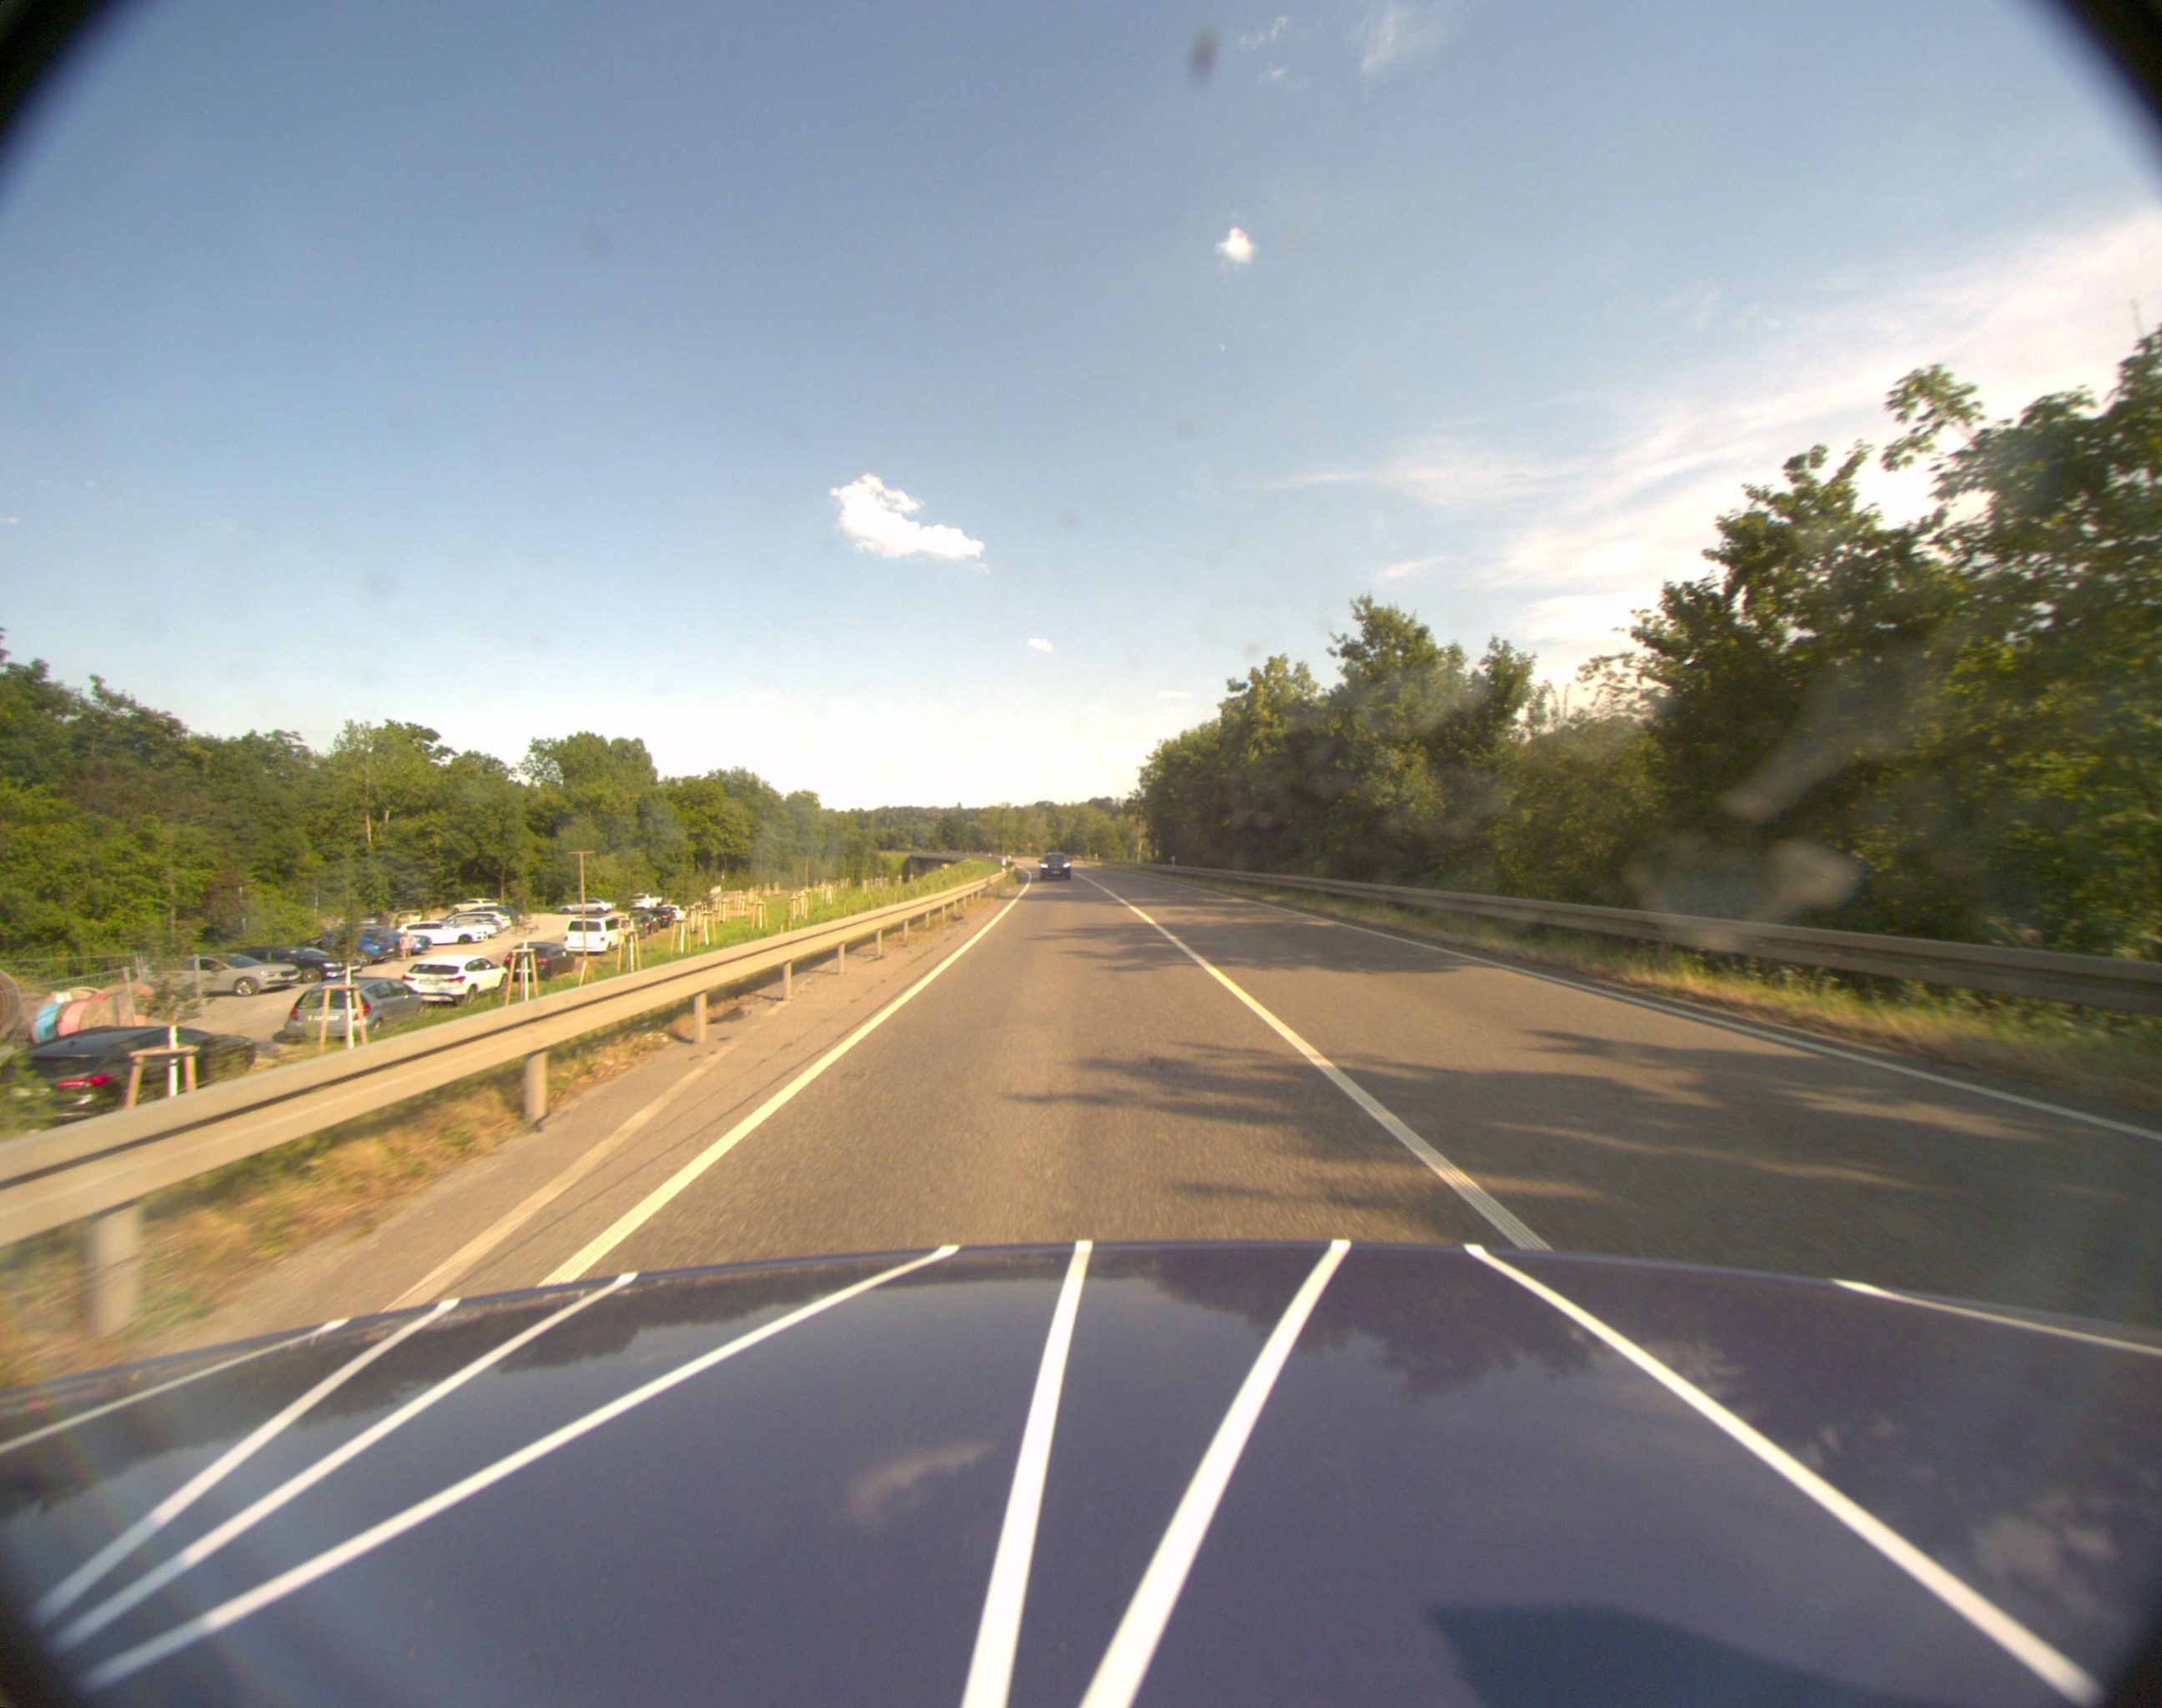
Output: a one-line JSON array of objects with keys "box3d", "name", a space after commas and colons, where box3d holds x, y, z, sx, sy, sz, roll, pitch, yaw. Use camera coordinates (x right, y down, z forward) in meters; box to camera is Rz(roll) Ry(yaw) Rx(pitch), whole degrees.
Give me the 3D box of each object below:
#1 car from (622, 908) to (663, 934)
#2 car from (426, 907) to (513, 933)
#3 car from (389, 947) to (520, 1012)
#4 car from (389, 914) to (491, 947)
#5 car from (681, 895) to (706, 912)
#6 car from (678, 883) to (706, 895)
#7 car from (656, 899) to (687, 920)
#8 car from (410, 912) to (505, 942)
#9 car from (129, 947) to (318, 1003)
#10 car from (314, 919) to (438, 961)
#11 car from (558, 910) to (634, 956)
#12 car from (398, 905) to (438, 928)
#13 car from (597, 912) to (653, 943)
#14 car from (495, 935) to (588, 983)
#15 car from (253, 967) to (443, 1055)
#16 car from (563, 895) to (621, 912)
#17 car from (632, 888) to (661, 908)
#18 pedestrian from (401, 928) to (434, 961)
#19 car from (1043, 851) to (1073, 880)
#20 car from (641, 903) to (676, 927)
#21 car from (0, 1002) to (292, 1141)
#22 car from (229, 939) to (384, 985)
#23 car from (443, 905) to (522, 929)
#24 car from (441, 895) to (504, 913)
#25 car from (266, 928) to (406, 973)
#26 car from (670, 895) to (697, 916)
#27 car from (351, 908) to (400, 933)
[{"box3d": [-29.542, 4.483, 51.326, 1.826, 1.473, 4.387, 1, -1, -23], "name": "car"}, {"box3d": [-41.991, 4.519, 52.320, 4.422, 1.447, 1.731, -1, 0, -29], "name": "car"}, {"box3d": [-21.632, 4.284, 26.497, 1.900, 1.550, 4.775, 3, -2, -19], "name": "car"}, {"box3d": [-37.768, 4.481, 44.895, 4.252, 1.489, 1.768, -2, 0, -24], "name": "car"}, {"box3d": [-37.228, 4.747, 73.036, 1.826, 1.393, 4.249, 1, -1, -23], "name": "car"}, {"box3d": [-53.566, 4.792, 104.689, 3.674, 1.488, 1.663, 0, 1, 29], "name": "car"}, {"box3d": [-33.474, 4.501, 62.136, 1.826, 1.473, 4.249, 1, -1, -23], "name": "car"}, {"box3d": [-38.705, 4.512, 47.283, 4.252, 1.447, 1.614, -2, 1, -25], "name": "car"}, {"box3d": [-31.598, 4.445, 28.174, 4.250, 1.481, 1.830, -2, 1, -19], "name": "car"}, {"box3d": [-36.210, 4.379, 39.174, 4.252, 1.732, 1.830, -2, 0, -24], "name": "car"}, {"box3d": [-25.791, 4.150, 40.608, 2.128, 2.005, 5.371, 3, -2, -19], "name": "car"}, {"box3d": [-48.809, 4.582, 55.983, 1.502, 1.447, 3.667, 1, -1, -30], "name": "car"}, {"box3d": [-27.715, 4.457, 46.294, 1.900, 1.473, 4.775, 3, -2, -19], "name": "car"}, {"box3d": [-22.933, 4.427, 32.494, 1.900, 1.473, 4.775, 3, -2, -19], "name": "car"}, {"box3d": [-20.155, 4.245, 21.221, 1.900, 1.550, 4.775, 3, -2, -19], "name": "car"}, {"box3d": [-45.159, 4.543, 70.233, 4.251, 1.447, 1.615, 1, -1, -19], "name": "car"}, {"box3d": [-43.894, 4.415, 76.855, 1.661, 1.657, 4.700, 0, 1, -18], "name": "car"}, {"box3d": [-32.819, 4.466, 37.570, 0.919, 1.462, 0.890, 1, -1, 23], "name": "pedestrian"}, {"box3d": [-1.473, 0.670, 47.070, 1.751, 1.645, 4.303, -1, 2, -3], "name": "car"}, {"box3d": [-31.635, 4.546, 56.977, 1.826, 1.473, 4.387, 1, -1, -23], "name": "car"}, {"box3d": [-18.898, 4.182, 15.341, 1.899, 1.550, 4.776, 3, -2, -16], "name": "car"}, {"box3d": [-31.580, 4.390, 31.097, 4.245, 1.481, 1.832, -1, 2, -4], "name": "car"}, {"box3d": [-43.246, 4.521, 55.008, 4.252, 1.447, 1.614, -1, 0, -25], "name": "car"}, {"box3d": [-56.022, 4.570, 70.017, 4.248, 1.447, 1.711, -1, 0, -13], "name": "car"}, {"box3d": [-34.768, 4.463, 35.604, 4.250, 1.595, 1.830, -2, 1, -19], "name": "car"}, {"box3d": [-35.529, 4.608, 68.006, 1.826, 1.648, 4.249, 1, -1, -23], "name": "car"}, {"box3d": [-49.085, 4.576, 52.933, 1.620, 1.447, 4.237, 1, -1, -30], "name": "car"}]
